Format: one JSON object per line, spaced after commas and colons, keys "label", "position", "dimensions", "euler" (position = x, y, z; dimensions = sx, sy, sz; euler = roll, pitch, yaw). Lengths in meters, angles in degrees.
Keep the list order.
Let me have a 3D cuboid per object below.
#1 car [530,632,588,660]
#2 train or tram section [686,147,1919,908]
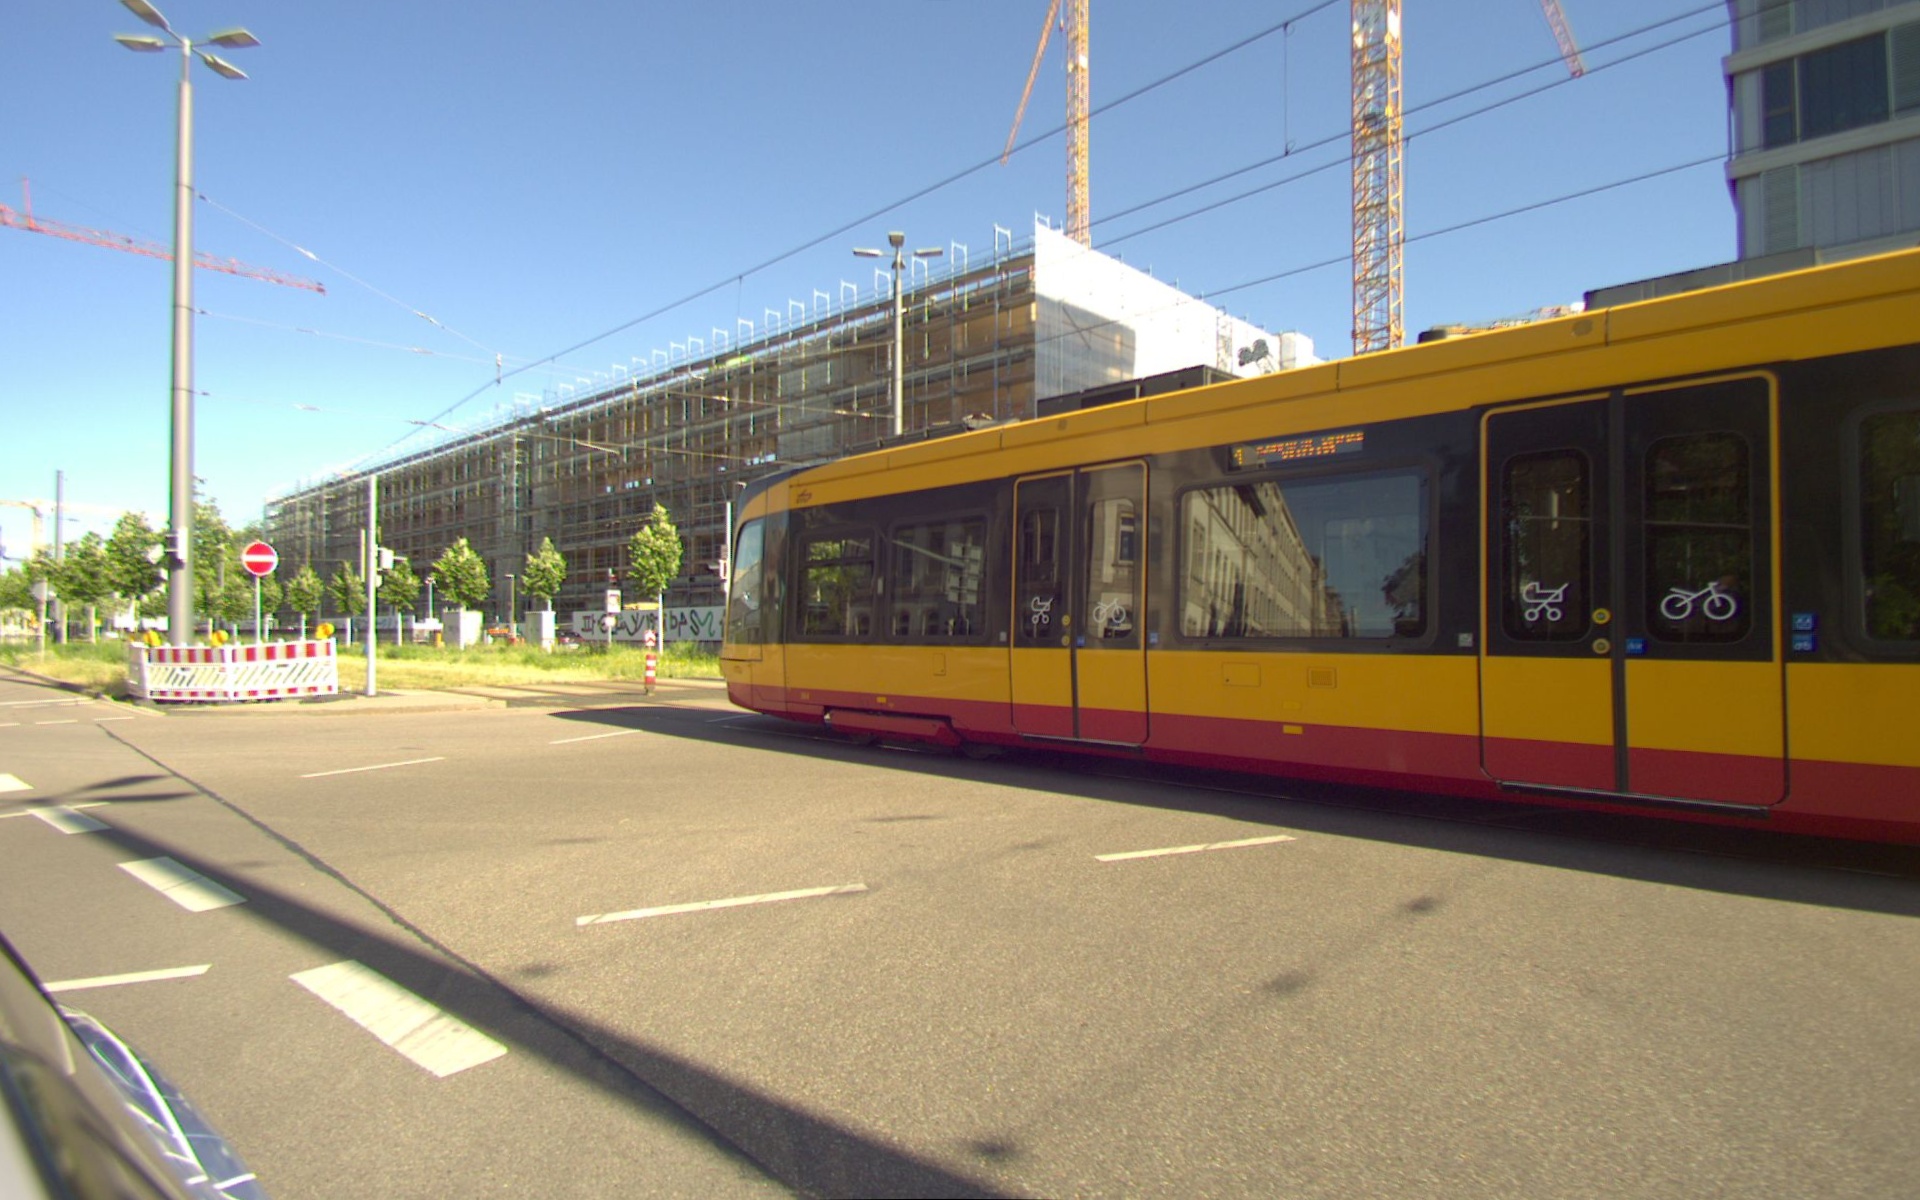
{"label": "car", "position": [-22.242, 2.523, 56.095], "dimensions": [3.479, 1.478, 1.578], "euler": [-1, -1, 41]}
{"label": "train or tram section", "position": [2.090, -0.271, 8.932], "dimensions": [1.971, 3.697, 14.160], "euler": [0, -1, -45]}
